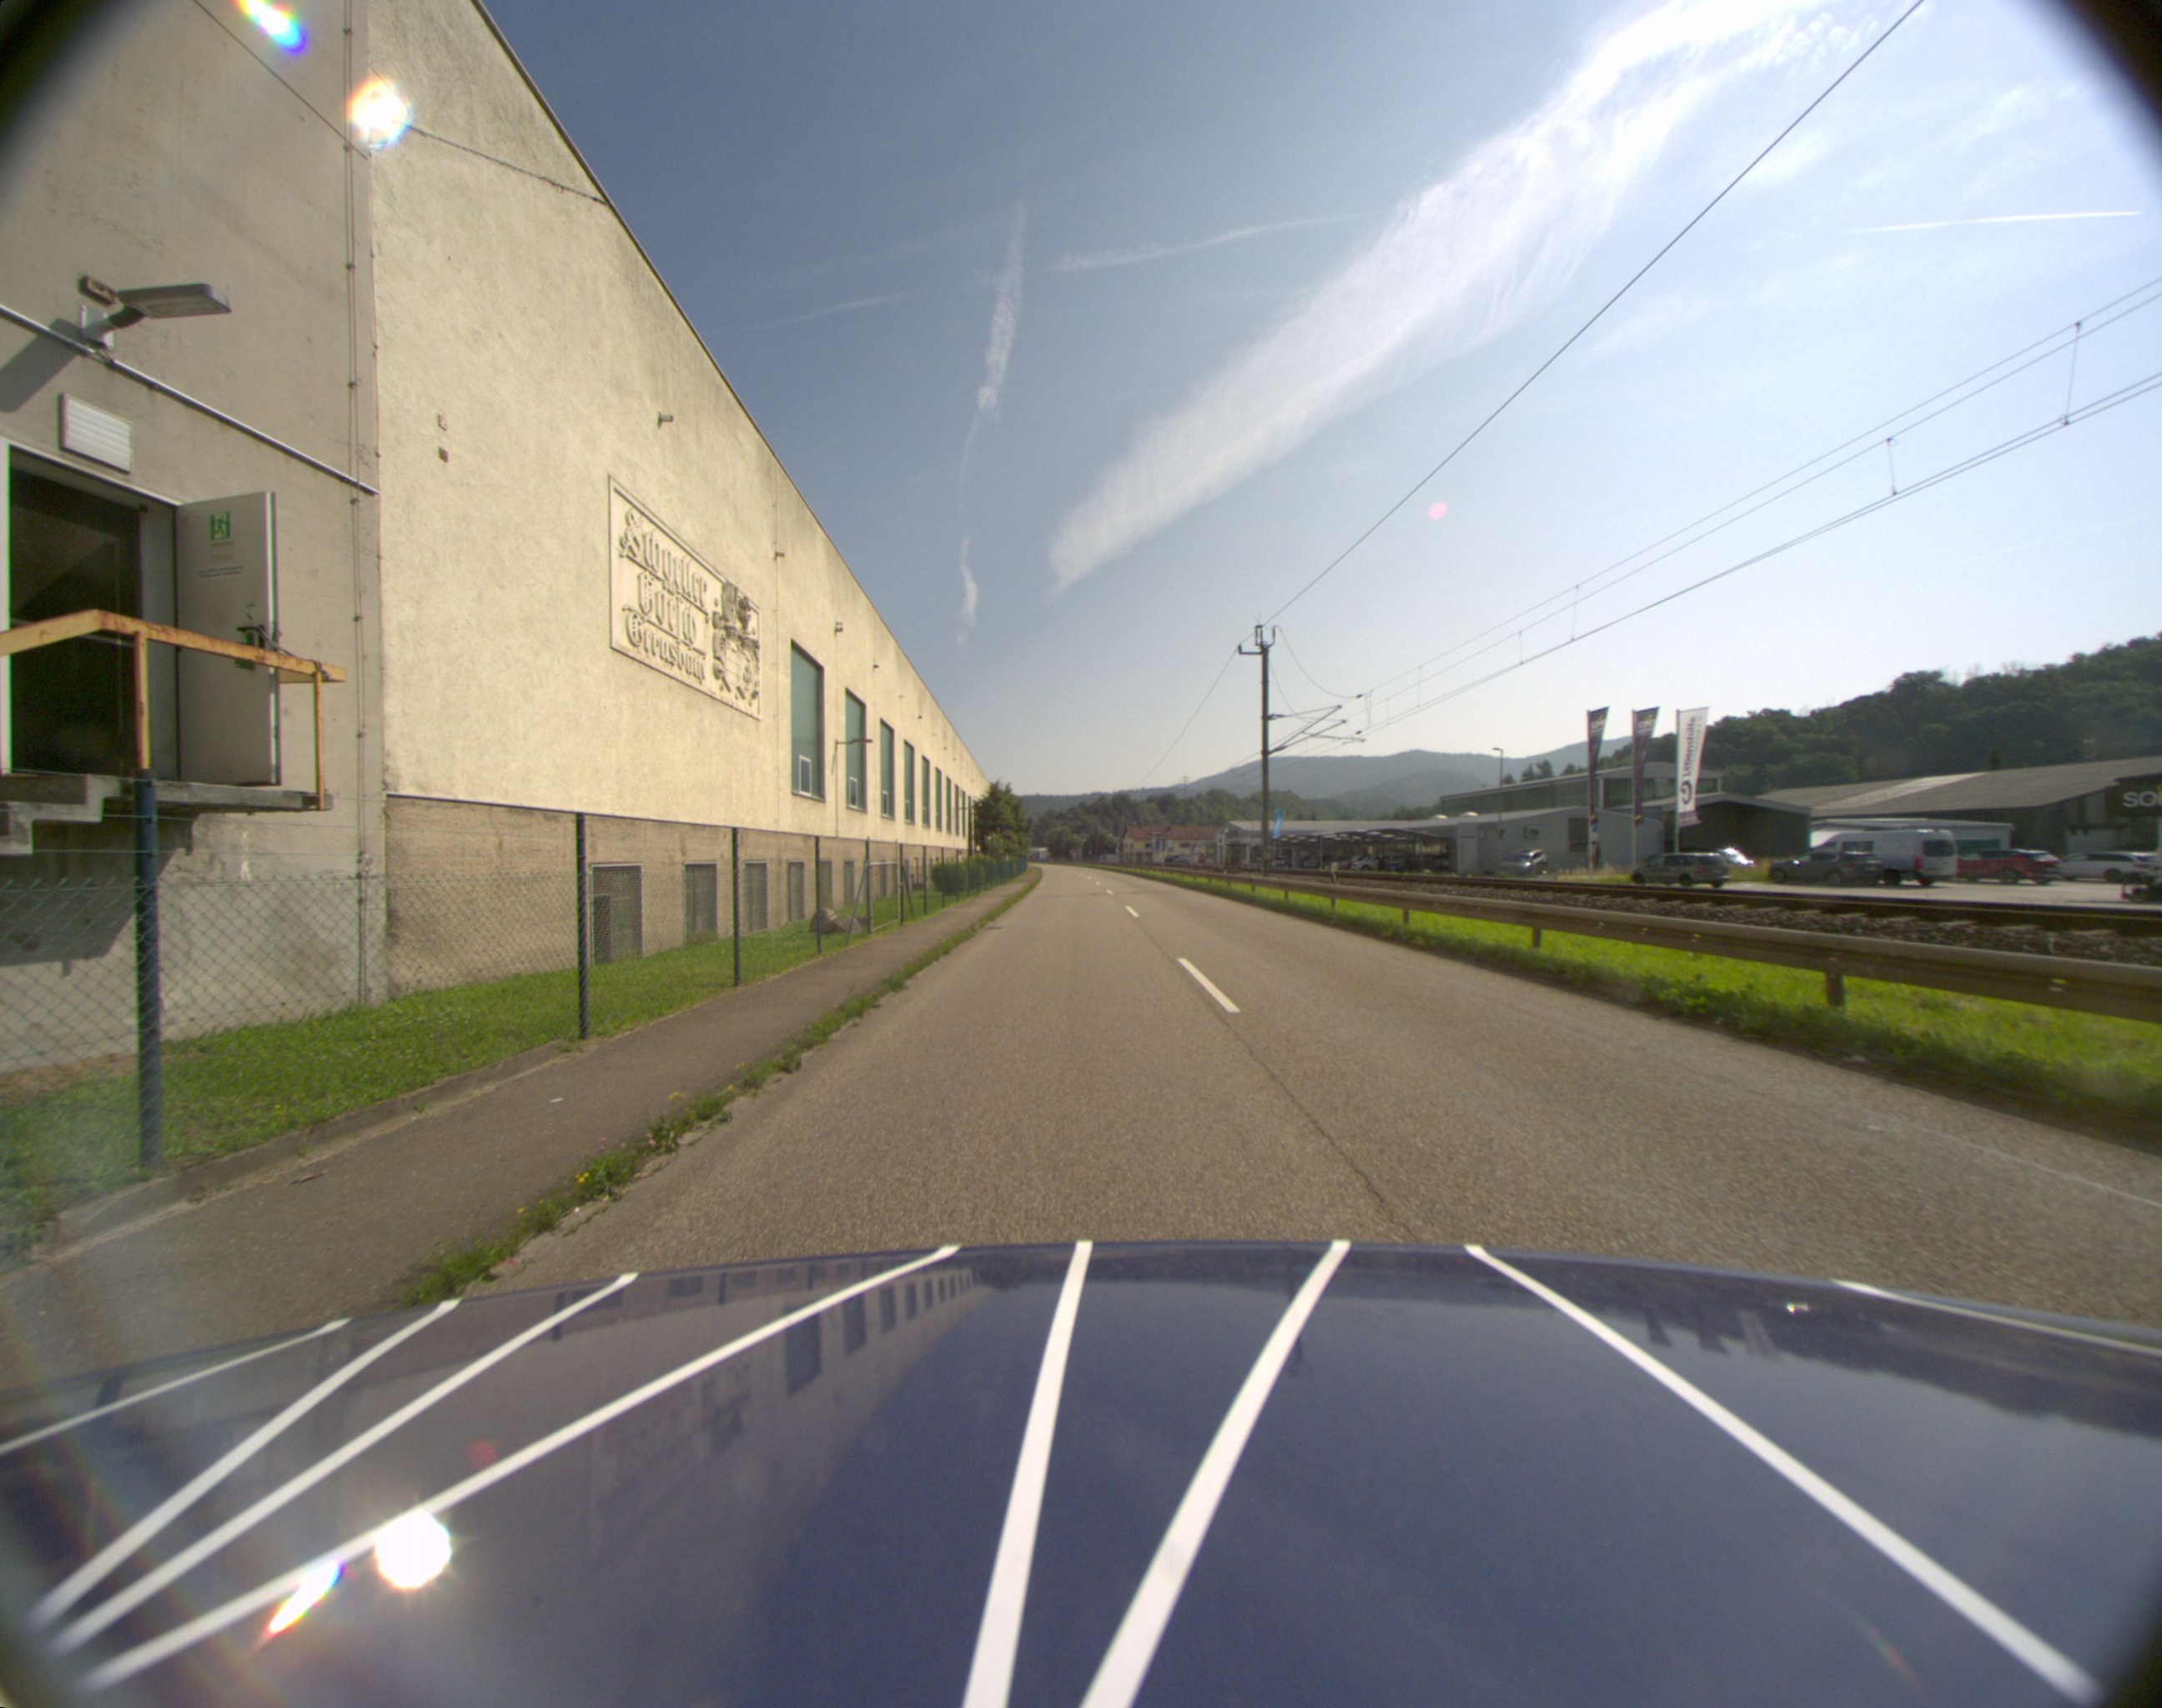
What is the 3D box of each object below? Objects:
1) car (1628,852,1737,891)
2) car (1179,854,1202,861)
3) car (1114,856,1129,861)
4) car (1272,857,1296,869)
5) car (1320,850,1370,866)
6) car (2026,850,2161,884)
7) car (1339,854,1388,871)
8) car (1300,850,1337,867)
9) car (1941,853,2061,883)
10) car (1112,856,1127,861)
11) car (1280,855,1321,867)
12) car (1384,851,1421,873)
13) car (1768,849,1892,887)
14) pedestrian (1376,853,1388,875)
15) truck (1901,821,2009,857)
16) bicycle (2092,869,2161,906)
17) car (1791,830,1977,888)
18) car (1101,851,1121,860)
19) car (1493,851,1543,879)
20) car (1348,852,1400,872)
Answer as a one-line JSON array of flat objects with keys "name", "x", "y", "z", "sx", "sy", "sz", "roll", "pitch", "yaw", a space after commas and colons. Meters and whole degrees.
[{"name": "car", "x": 28.979, "y": 0.797, "z": 36.801, "sx": 1.523, "sy": 1.679, "sz": 4.368, "roll": -2, "pitch": 1, "yaw": -5}, {"name": "car", "x": 20.475, "y": 0.702, "z": 142.363, "sx": 4.001, "sy": 1.367, "sz": 1.859, "roll": 0, "pitch": 0, "yaw": -11}, {"name": "car", "x": 11.082, "y": 1.208, "z": 208.004, "sx": 3.859, "sy": 1.292, "sz": 1.647, "roll": -1, "pitch": 0, "yaw": -11}, {"name": "car", "x": 24.789, "y": 1.104, "z": 92.676, "sx": 1.842, "sy": 1.377, "sz": 4.531, "roll": -1, "pitch": 0, "yaw": 27}, {"name": "car", "x": 26.281, "y": 0.391, "z": 75.713, "sx": 1.851, "sy": 1.496, "sz": 4.422, "roll": -1, "pitch": 0, "yaw": -41}, {"name": "car", "x": 49.655, "y": 0.605, "z": 37.234, "sx": 1.582, "sy": 1.532, "sz": 4.069, "roll": 0, "pitch": 1, "yaw": -1}, {"name": "car", "x": 26.294, "y": 0.814, "z": 70.882, "sx": 3.968, "sy": 1.317, "sz": 1.501, "roll": -3, "pitch": 1, "yaw": -5}, {"name": "car", "x": 25.647, "y": 0.504, "z": 82.046, "sx": 4.279, "sy": 1.519, "sz": 1.842, "roll": -4, "pitch": 1, "yaw": -43}, {"name": "car", "x": 44.489, "y": 0.661, "z": 36.858, "sx": 1.518, "sy": 1.350, "sz": 3.520, "roll": 0, "pitch": 1, "yaw": -1}, {"name": "car", "x": 10.655, "y": 1.222, "z": 210.524, "sx": 3.859, "sy": 1.292, "sz": 1.647, "roll": -1, "pitch": 0, "yaw": -11}, {"name": "car", "x": 25.234, "y": 0.804, "z": 87.513, "sx": 1.851, "sy": 1.334, "sz": 4.196, "roll": -1, "pitch": 0, "yaw": -44}, {"name": "car", "x": 26.922, "y": 0.633, "z": 63.542, "sx": 1.659, "sy": 1.613, "sz": 4.039, "roll": -3, "pitch": 1, "yaw": 40}, {"name": "car", "x": 36.105, "y": 0.647, "z": 36.784, "sx": 1.873, "sy": 1.654, "sz": 3.997, "roll": 0, "pitch": 2, "yaw": -5}, {"name": "pedestrian", "x": 24.343, "y": 0.817, "z": 61.430, "sx": 0.833, "sy": 1.724, "sz": 0.806, "roll": 0, "pitch": 1, "yaw": 22}, {"name": "truck", "x": 61.470, "y": -1.091, "z": 53.595, "sx": 1.999, "sy": 2.411, "sz": 4.639, "roll": 0, "pitch": 2, "yaw": -5}, {"name": "bicycle", "x": 33.588, "y": 1.048, "z": 24.095, "sx": 2.173, "sy": 1.124, "sz": 0.730, "roll": 0, "pitch": 1, "yaw": -2}, {"name": "car", "x": 39.213, "y": 0.134, "z": 37.457, "sx": 2.380, "sy": 2.618, "sz": 6.156, "roll": 0, "pitch": 2, "yaw": -4}, {"name": "car", "x": 8.932, "y": 0.467, "z": 226.621, "sx": 5.590, "sy": 2.402, "sz": 2.235, "roll": -1, "pitch": 0, "yaw": -8}, {"name": "car", "x": 30.233, "y": 0.722, "z": 52.503, "sx": 4.005, "sy": 1.522, "sz": 1.519, "roll": -6, "pitch": 4, "yaw": -37}, {"name": "car", "x": 26.326, "y": 0.739, "z": 68.344, "sx": 3.968, "sy": 1.519, "sz": 1.662, "roll": -3, "pitch": 1, "yaw": -5}]
